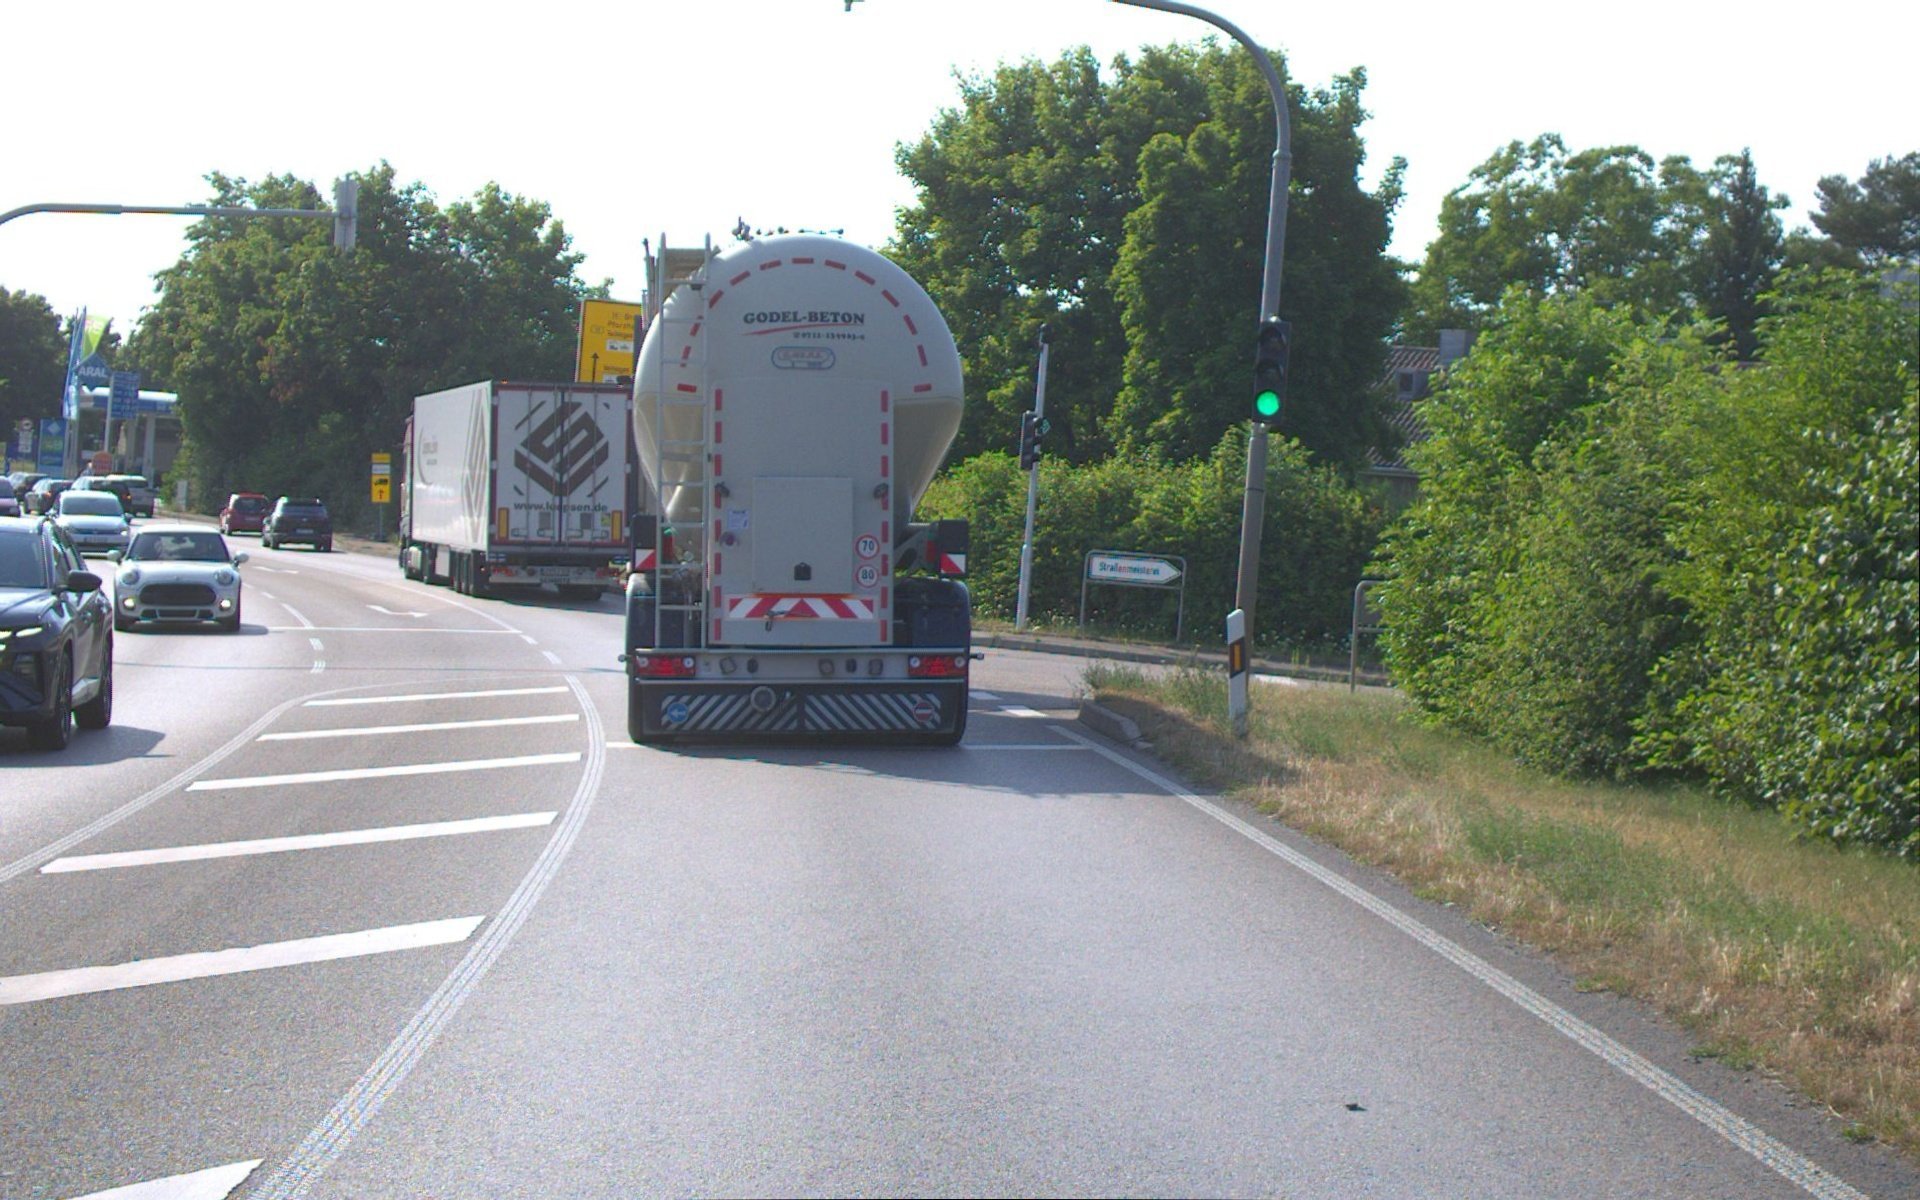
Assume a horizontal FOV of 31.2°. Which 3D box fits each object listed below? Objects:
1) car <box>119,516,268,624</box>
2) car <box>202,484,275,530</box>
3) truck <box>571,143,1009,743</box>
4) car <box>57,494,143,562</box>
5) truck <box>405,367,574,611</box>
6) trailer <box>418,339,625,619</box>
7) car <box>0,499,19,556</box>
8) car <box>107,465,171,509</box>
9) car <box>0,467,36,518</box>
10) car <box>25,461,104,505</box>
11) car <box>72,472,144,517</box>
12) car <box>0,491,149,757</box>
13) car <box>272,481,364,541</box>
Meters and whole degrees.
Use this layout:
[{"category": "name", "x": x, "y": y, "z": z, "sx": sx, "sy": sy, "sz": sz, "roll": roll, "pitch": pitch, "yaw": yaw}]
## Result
[{"category": "car", "x": -10.601, "y": -0.433, "z": 47.746, "sx": 1.720, "sy": 1.431, "sz": 3.750, "roll": 0, "pitch": 1, "yaw": -8}, {"category": "car", "x": -24.966, "y": -3.213, "z": 118.878, "sx": 1.683, "sy": 1.463, "sz": 4.001, "roll": 2, "pitch": 0, "yaw": -23}, {"category": "truck", "x": -1.792, "y": -1.120, "z": 30.322, "sx": 2.975, "sy": 4.161, "sz": 11.664, "roll": 2, "pitch": 0, "yaw": -6}, {"category": "car", "x": -21.586, "y": -1.819, "z": 86.202, "sx": 1.881, "sy": 1.594, "sz": 4.002, "roll": 2, "pitch": 1, "yaw": -17}, {"category": "truck", "x": -10.164, "y": -2.289, "z": 73.755, "sx": 2.962, "sy": 4.870, "sz": 6.432, "roll": 2, "pitch": 0, "yaw": -12}, {"category": "trailer", "x": -8.612, "y": -2.183, "z": 66.433, "sx": 2.963, "sy": 4.865, "sz": 10.291, "roll": 2, "pitch": 0, "yaw": -12}, {"category": "car", "x": -28.333, "y": -2.142, "z": 98.834, "sx": 1.881, "sy": 1.594, "sz": 4.001, "roll": 2, "pitch": 1, "yaw": -23}, {"category": "car", "x": -33.953, "y": -4.667, "z": 142.113, "sx": 1.841, "sy": 1.650, "sz": 4.001, "roll": 2, "pitch": 0, "yaw": -23}, {"category": "car", "x": -31.325, "y": -3.545, "z": 112.396, "sx": 1.881, "sy": 1.594, "sz": 4.001, "roll": 2, "pitch": 1, "yaw": -19}, {"category": "car", "x": -35.585, "y": -4.656, "z": 136.556, "sx": 2.085, "sy": 1.594, "sz": 4.001, "roll": 2, "pitch": 1, "yaw": -29}, {"category": "car", "x": -32.012, "y": -3.968, "z": 129.122, "sx": 1.881, "sy": 1.594, "sz": 4.001, "roll": 2, "pitch": 1, "yaw": -24}, {"category": "car", "x": -7.224, "y": 0.076, "z": 24.812, "sx": 1.993, "sy": 1.719, "sz": 4.427, "roll": 2, "pitch": 2, "yaw": -5}, {"category": "car", "x": -19.318, "y": -2.655, "z": 103.370, "sx": 1.993, "sy": 1.650, "sz": 4.001, "roll": 2, "pitch": 0, "yaw": -21}]
